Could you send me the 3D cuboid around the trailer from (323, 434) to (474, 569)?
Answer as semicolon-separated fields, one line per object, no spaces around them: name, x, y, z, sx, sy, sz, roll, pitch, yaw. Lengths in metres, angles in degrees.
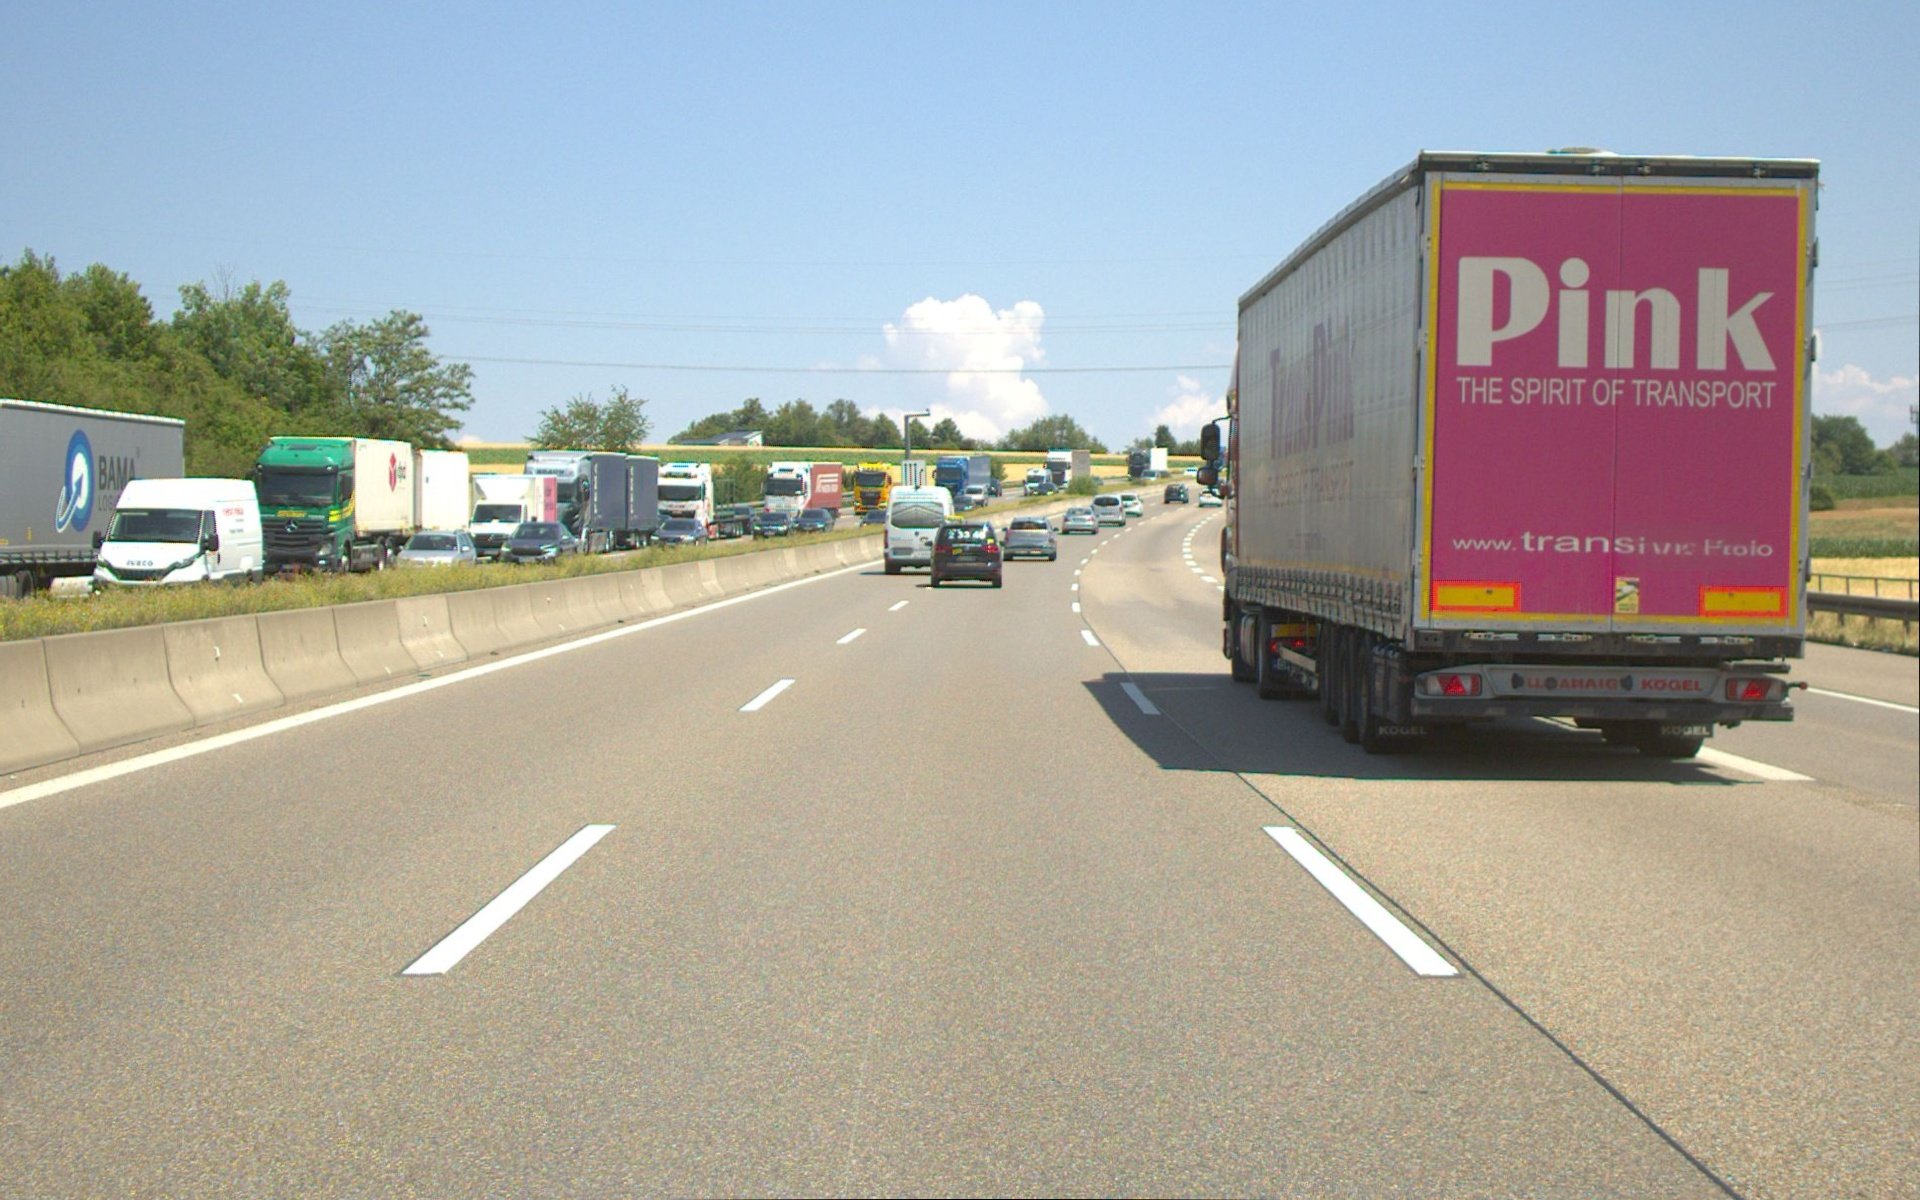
trailer;-17.644;-3.111;108.637;2.920;4.057;8.230;-1;2;3

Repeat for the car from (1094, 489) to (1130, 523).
car;9.030;-5.591;204.807;1.993;1.897;4.000;0;0;1

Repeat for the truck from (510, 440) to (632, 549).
truck;-15.612;-4.266;138.859;3.001;4.219;10.733;0;2;4

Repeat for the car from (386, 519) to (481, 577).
car;-14.167;-1.388;92.736;1.752;1.455;4.858;1;0;1

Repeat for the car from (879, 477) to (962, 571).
car;-1.126;-2.192;100.904;2.180;2.616;4.672;1;0;2

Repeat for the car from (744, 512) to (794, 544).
car;-9.528;-3.598;172.116;1.994;1.522;4.772;1;2;3

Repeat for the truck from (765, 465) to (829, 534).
truck;-9.919;-6.151;209.559;3.036;4.067;6.314;1;2;5

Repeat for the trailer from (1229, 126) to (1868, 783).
trailer;4.248;-1.080;28.618;2.918;4.103;13.859;1;1;0

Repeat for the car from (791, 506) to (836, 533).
car;-8.001;-4.452;188.588;1.994;1.450;5.170;0;2;3

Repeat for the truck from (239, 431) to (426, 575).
truck;-18.062;-2.828;99.782;2.843;3.885;11.247;-1;2;3

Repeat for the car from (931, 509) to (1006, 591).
car;0.188;-1.275;86.139;1.847;1.854;4.206;0;3;0

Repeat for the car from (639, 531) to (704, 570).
car;-11.767;-2.033;140.568;1.993;1.540;5.494;0;1;2

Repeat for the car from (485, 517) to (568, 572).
car;-13.661;-1.733;108.534;1.861;1.636;5.113;0;0;1

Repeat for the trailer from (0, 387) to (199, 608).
trailer;-18.901;-2.052;70.411;2.902;4.072;14.445;0;1;2

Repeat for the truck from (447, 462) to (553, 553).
truck;-16.662;-3.391;124.984;2.538;3.196;7.589;0;2;2

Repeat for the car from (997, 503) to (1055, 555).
car;2.373;-2.546;123.931;1.993;1.744;4.000;1;0;0

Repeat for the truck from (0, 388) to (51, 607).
truck;-19.118;-1.882;63.329;2.853;4.022;6.604;0;1;1

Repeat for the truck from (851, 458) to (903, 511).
truck;-6.097;-8.555;253.198;2.751;3.823;7.097;1;3;7

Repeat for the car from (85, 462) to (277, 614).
car;-15.002;-1.141;66.611;2.139;2.776;6.625;1;0;1

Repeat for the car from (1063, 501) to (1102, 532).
car;6.496;-4.421;182.090;1.993;1.579;4.000;0;1;1

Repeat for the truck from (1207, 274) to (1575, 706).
truck;4.256;-1.100;35.355;2.916;3.995;6.511;1;1;0

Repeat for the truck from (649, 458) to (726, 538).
truck;-13.411;-5.046;169.633;2.901;3.863;6.178;1;2;4

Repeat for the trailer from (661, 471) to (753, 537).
trailer;-12.887;-4.971;176.440;2.858;3.194;12.782;1;2;4
